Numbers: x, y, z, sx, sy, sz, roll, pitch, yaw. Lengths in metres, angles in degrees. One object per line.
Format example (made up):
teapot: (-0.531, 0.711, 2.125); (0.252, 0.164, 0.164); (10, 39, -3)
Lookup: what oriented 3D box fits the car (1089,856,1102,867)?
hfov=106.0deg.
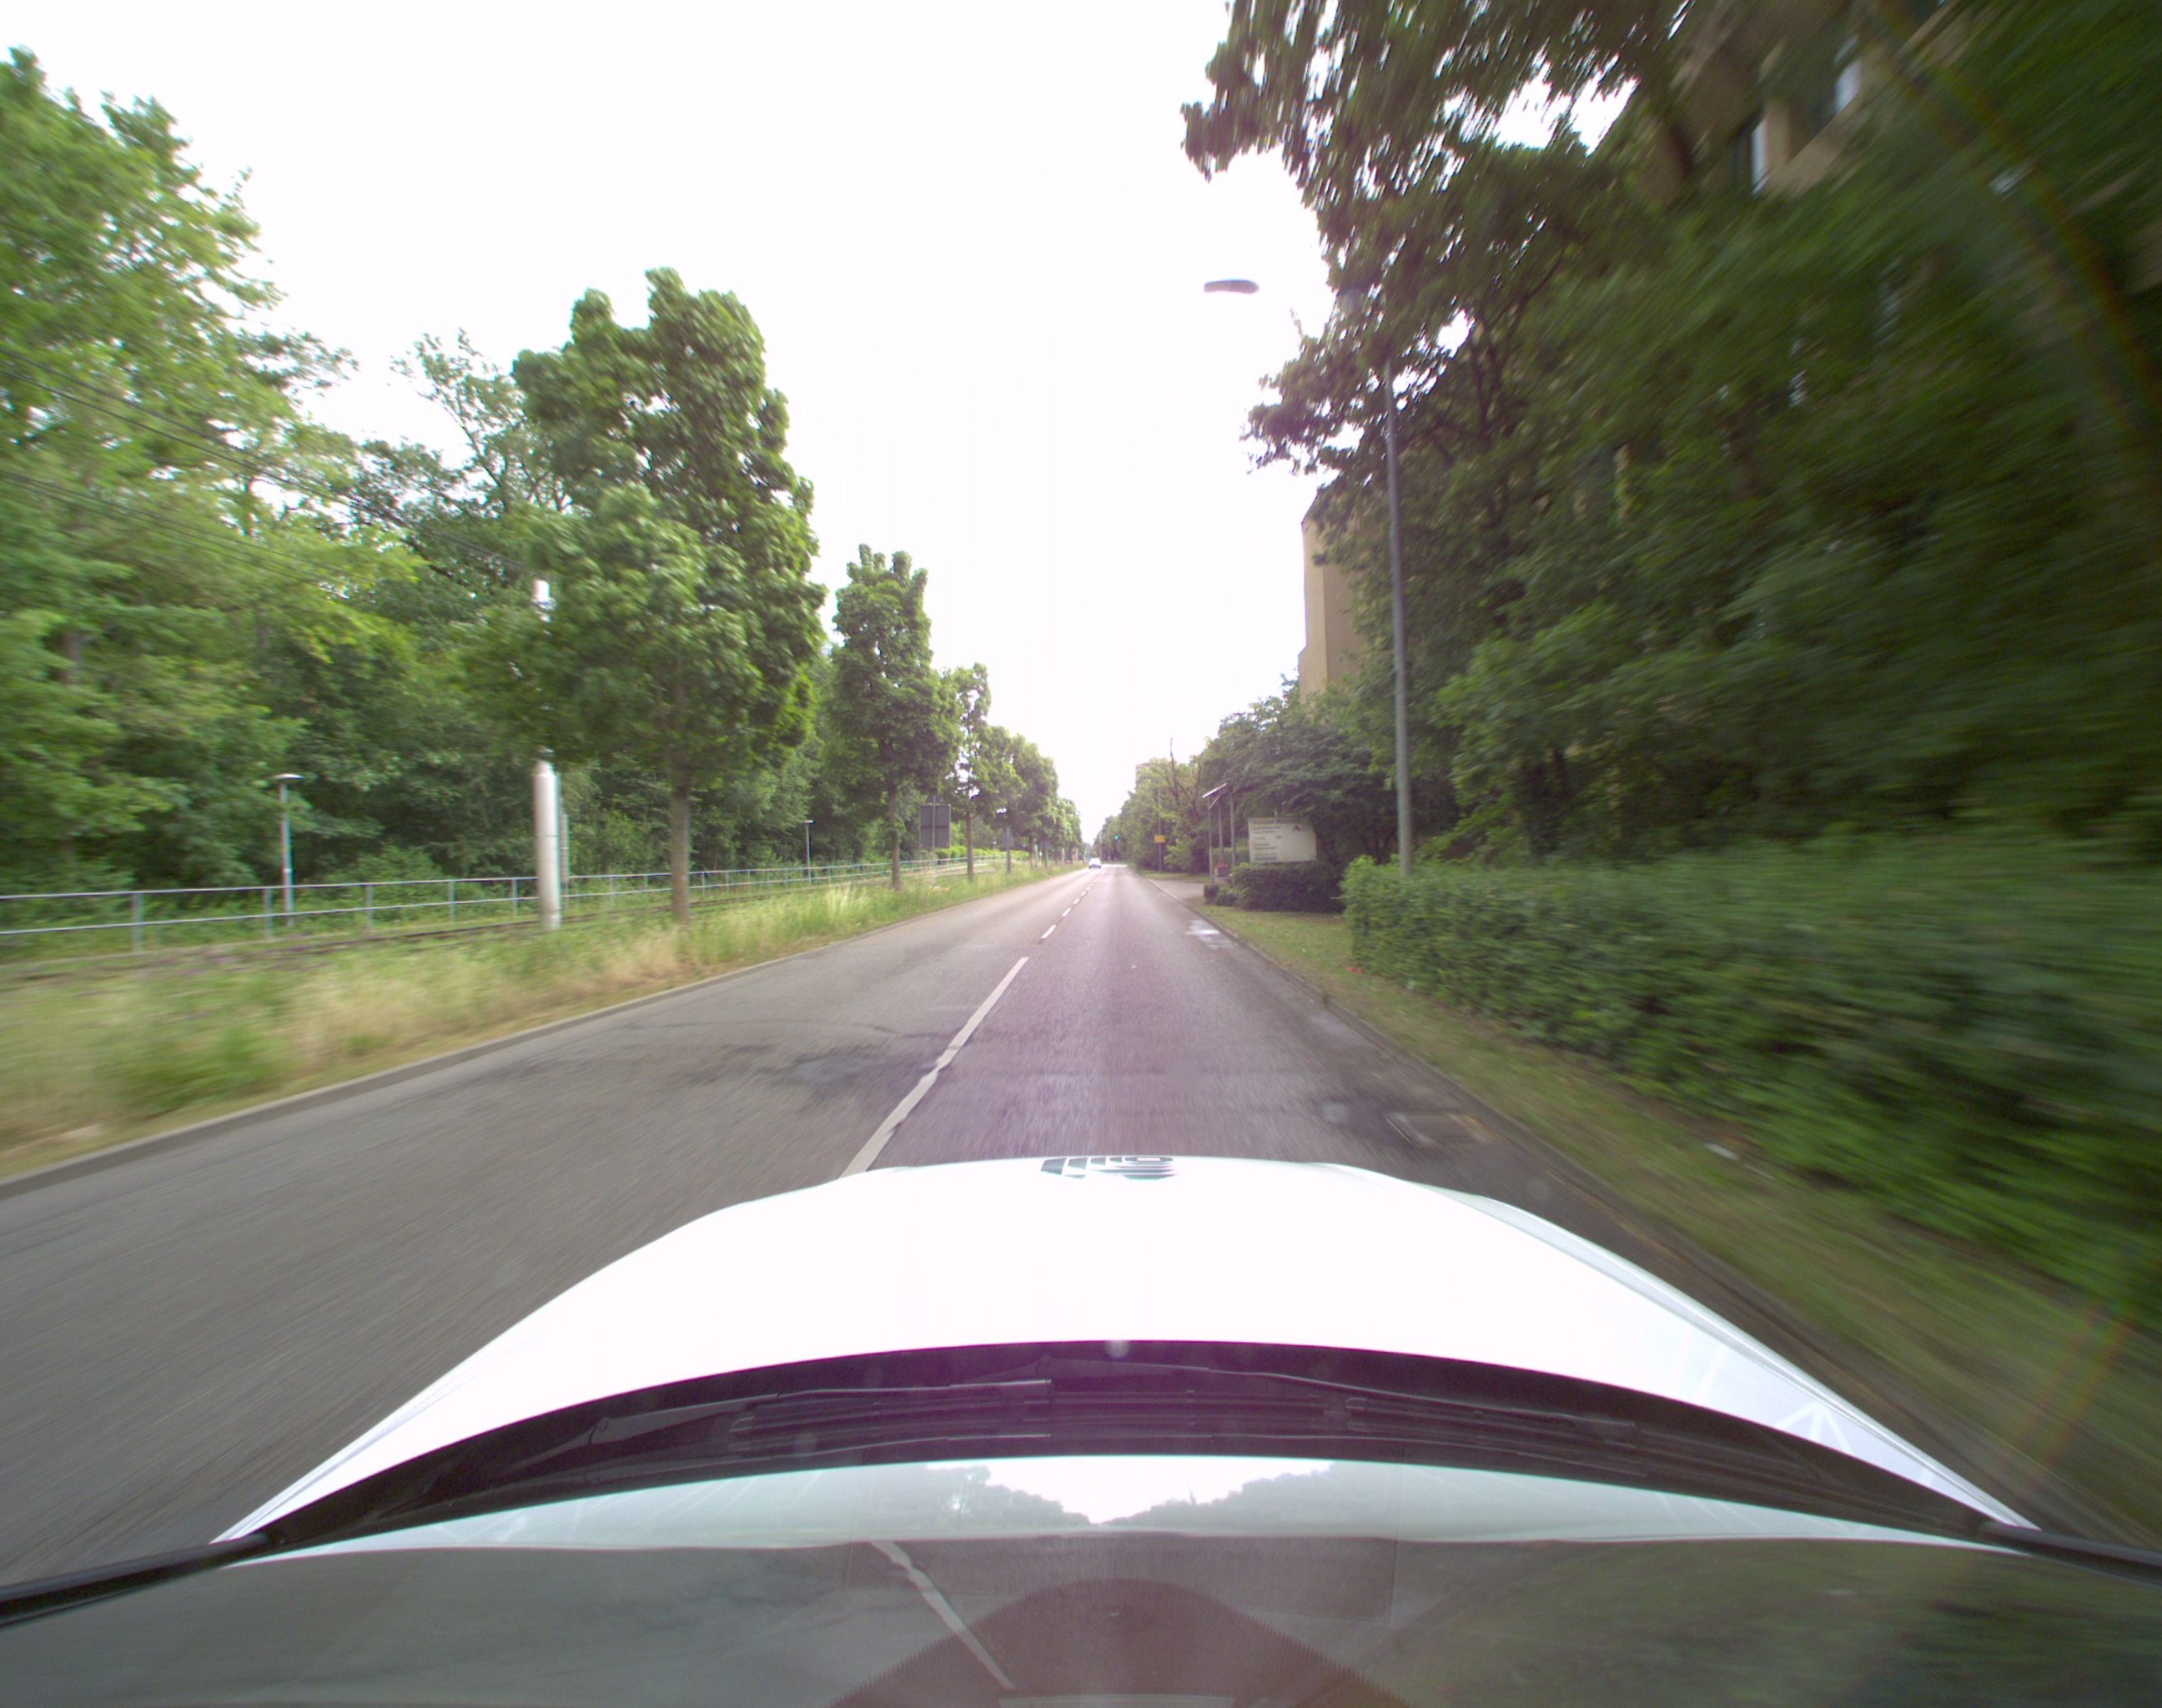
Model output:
car: (2.162, 1.091, 121.964); (1.709, 1.629, 4.003); (1, 0, 3)
